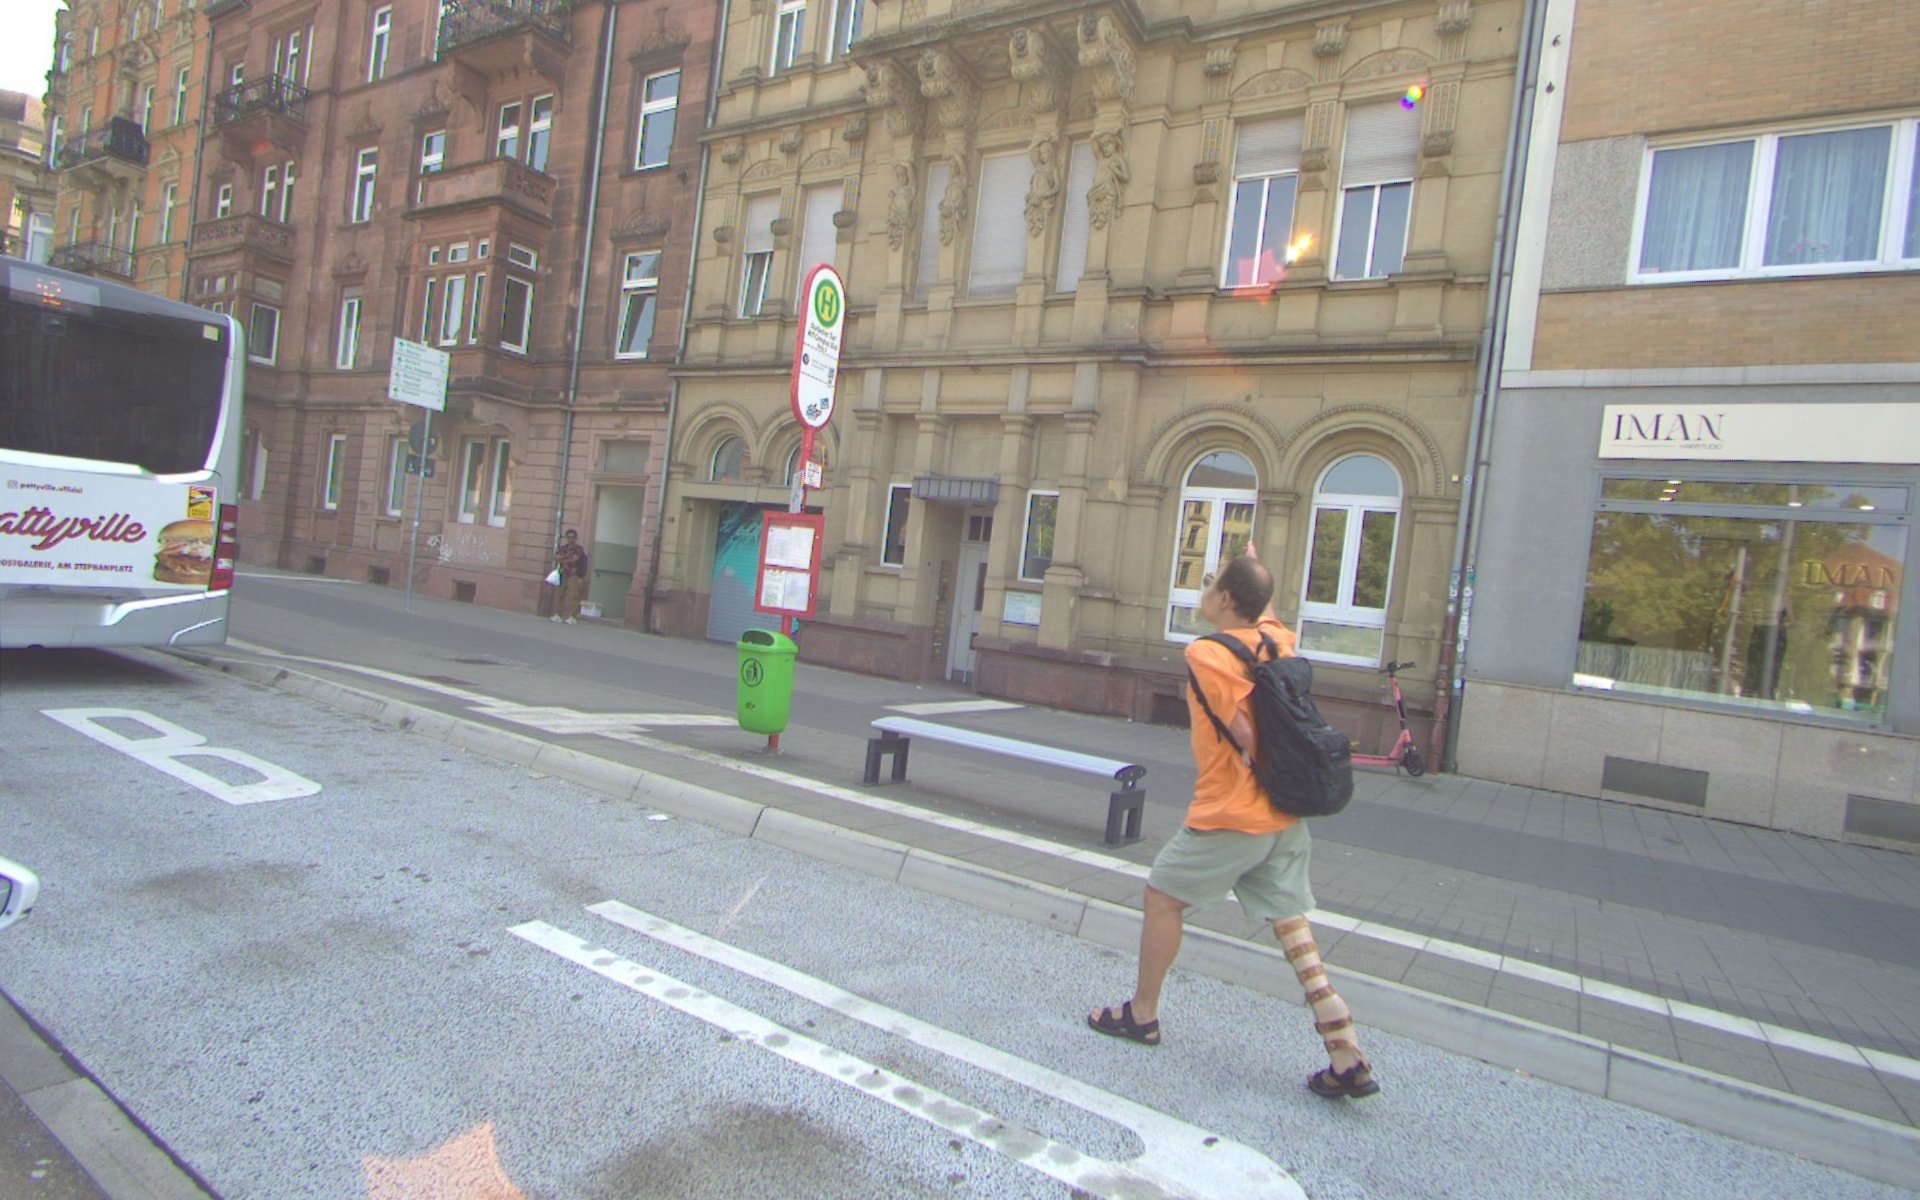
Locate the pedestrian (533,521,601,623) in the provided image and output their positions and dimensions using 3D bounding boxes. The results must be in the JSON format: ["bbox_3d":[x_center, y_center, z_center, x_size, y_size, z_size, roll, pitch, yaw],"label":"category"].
[{"bbox_3d":[-7.437,-0.508,19.064,0.729,1.800,0.870,7,1,4],"label":"pedestrian"}]

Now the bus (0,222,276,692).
[{"bbox_3d":[-11.264,-1.502,10.151,11.760,3.149,2.743,7,3,33],"label":"bus"}]

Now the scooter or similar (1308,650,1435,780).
[{"bbox_3d":[4.494,1.229,10.993,1.122,1.228,0.476,7,1,27],"label":"scooter or similar"}]

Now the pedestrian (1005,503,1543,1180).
[{"bbox_3d":[1.011,0.632,3.388,0.960,1.763,1.225,6,2,-41],"label":"pedestrian"}]
